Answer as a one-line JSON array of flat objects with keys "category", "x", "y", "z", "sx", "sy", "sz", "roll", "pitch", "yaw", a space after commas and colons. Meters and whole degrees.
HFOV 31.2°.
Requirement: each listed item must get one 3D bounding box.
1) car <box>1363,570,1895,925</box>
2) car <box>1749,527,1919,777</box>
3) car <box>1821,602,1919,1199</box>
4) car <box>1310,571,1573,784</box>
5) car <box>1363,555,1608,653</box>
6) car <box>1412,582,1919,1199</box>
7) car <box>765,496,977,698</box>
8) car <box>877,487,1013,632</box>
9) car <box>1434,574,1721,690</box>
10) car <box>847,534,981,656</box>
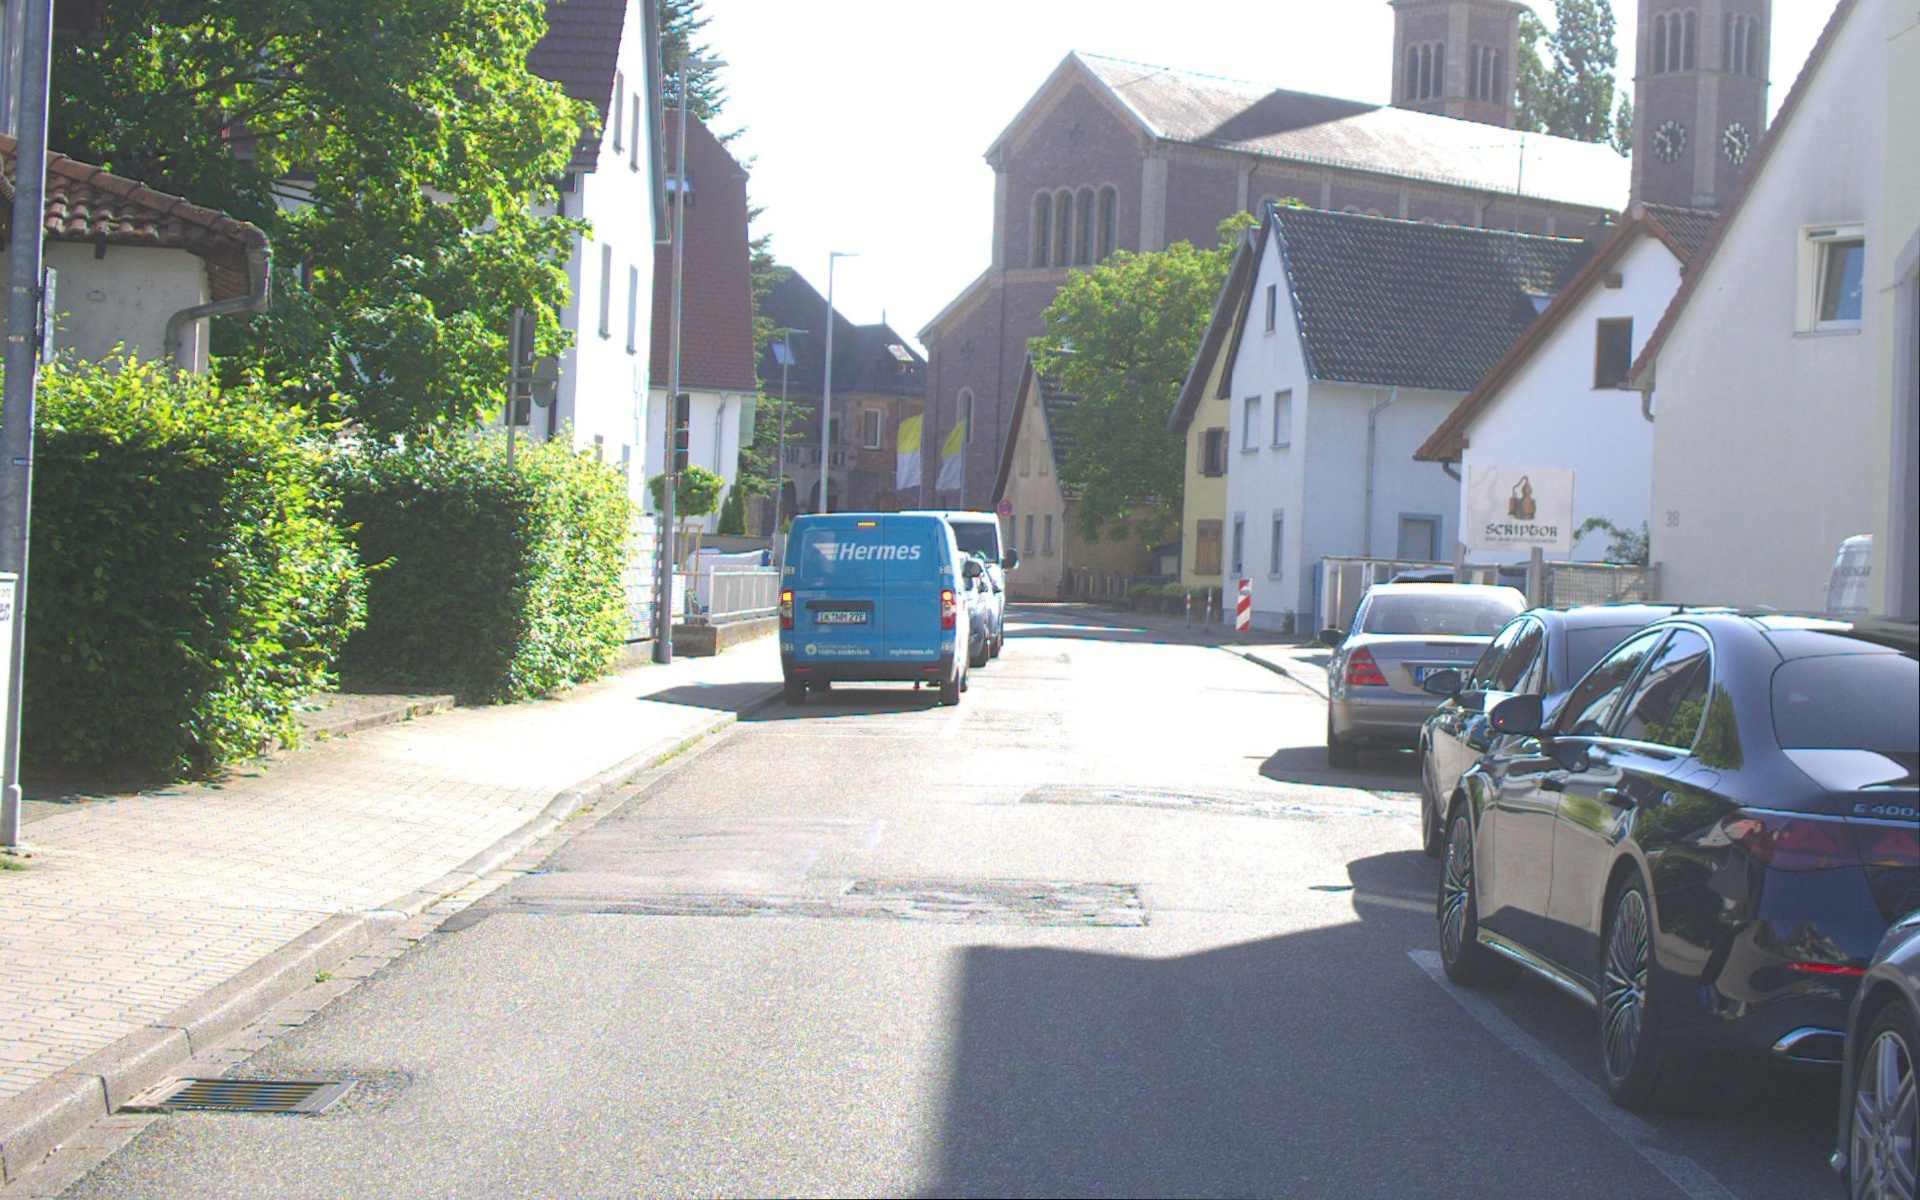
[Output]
[{"category": "car", "x": 3.330, "y": 0.651, "z": 18.088, "sx": 1.808, "sy": 1.470, "sz": 4.844, "roll": 4, "pitch": 1, "yaw": 1}, {"category": "car", "x": 8.840, "y": 0.375, "z": 27.036, "sx": 4.761, "sy": 1.880, "sz": 1.909, "roll": 0, "pitch": 1, "yaw": -6}, {"category": "car", "x": 2.870, "y": 0.835, "z": 5.429, "sx": 1.808, "sy": 1.470, "sz": 4.444, "roll": 4, "pitch": 1, "yaw": 0}, {"category": "car", "x": 3.801, "y": 0.553, "z": 27.796, "sx": 1.812, "sy": 1.470, "sz": 4.659, "roll": 3, "pitch": 1, "yaw": 5}, {"category": "car", "x": 8.758, "y": 0.058, "z": 57.227, "sx": 3.914, "sy": 1.487, "sz": 1.846, "roll": 2, "pitch": 0, "yaw": 10}, {"category": "car", "x": 2.696, "y": 0.758, "z": 11.031, "sx": 1.808, "sy": 1.470, "sz": 4.844, "roll": 4, "pitch": 1, "yaw": 1}, {"category": "car", "x": -0.852, "y": -0.067, "z": 35.930, "sx": 1.902, "sy": 1.911, "sz": 5.070, "roll": 1, "pitch": 1, "yaw": 2}, {"category": "car", "x": -0.196, "y": -0.722, "z": 59.967, "sx": 2.197, "sy": 2.382, "sz": 6.064, "roll": 1, "pitch": 1, "yaw": 1}, {"category": "car", "x": 9.696, "y": 0.505, "z": 53.980, "sx": 4.035, "sy": 1.682, "sz": 1.912, "roll": 1, "pitch": 1, "yaw": -26}, {"category": "car", "x": -0.607, "y": -0.100, "z": 48.099, "sx": 1.715, "sy": 1.593, "sz": 3.925, "roll": 1, "pitch": 1, "yaw": 1}]
